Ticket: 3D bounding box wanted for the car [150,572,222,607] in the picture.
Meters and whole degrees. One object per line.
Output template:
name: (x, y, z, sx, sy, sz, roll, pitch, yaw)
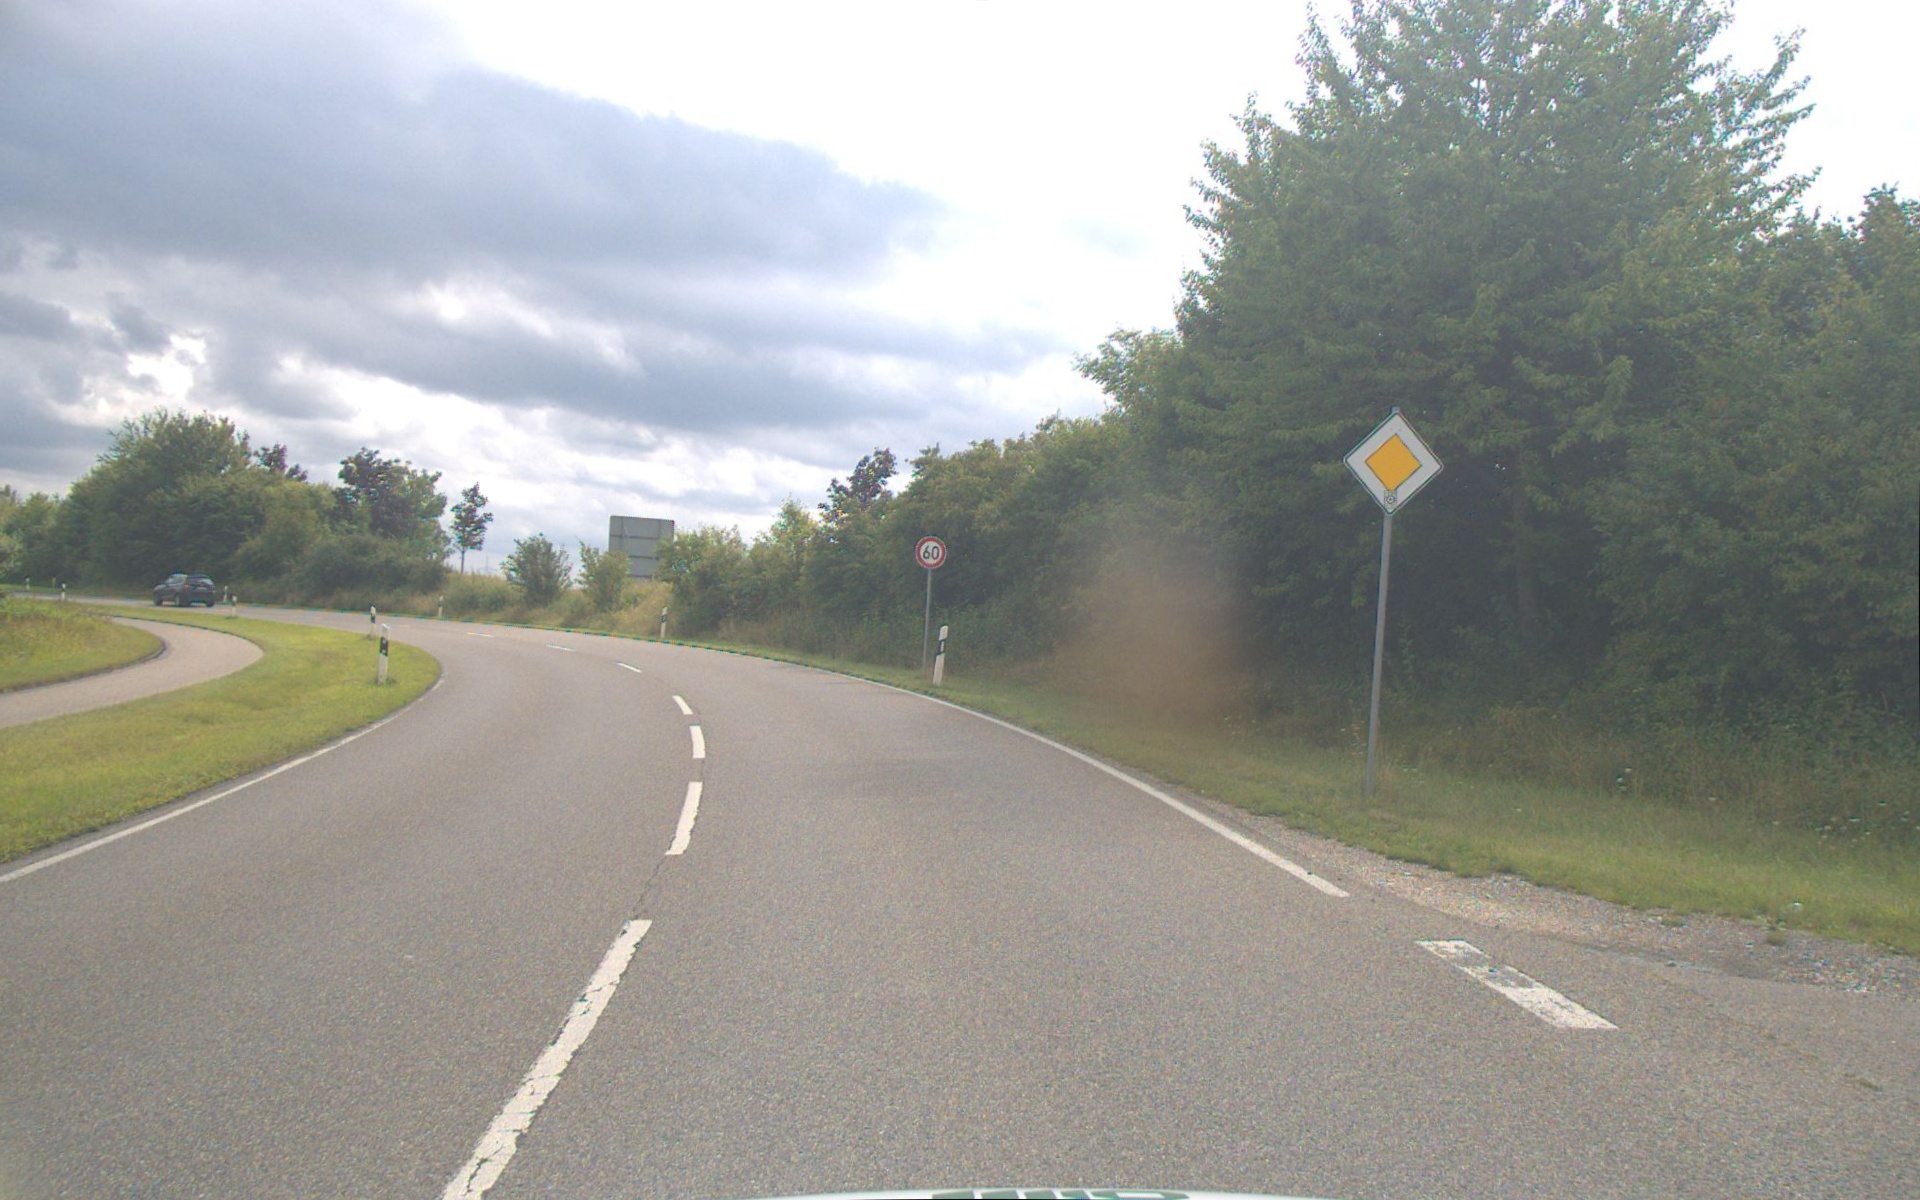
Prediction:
car: (-41.052, -0.568, 87.743, 3.924, 1.695, 1.904, 2, 0, 39)
